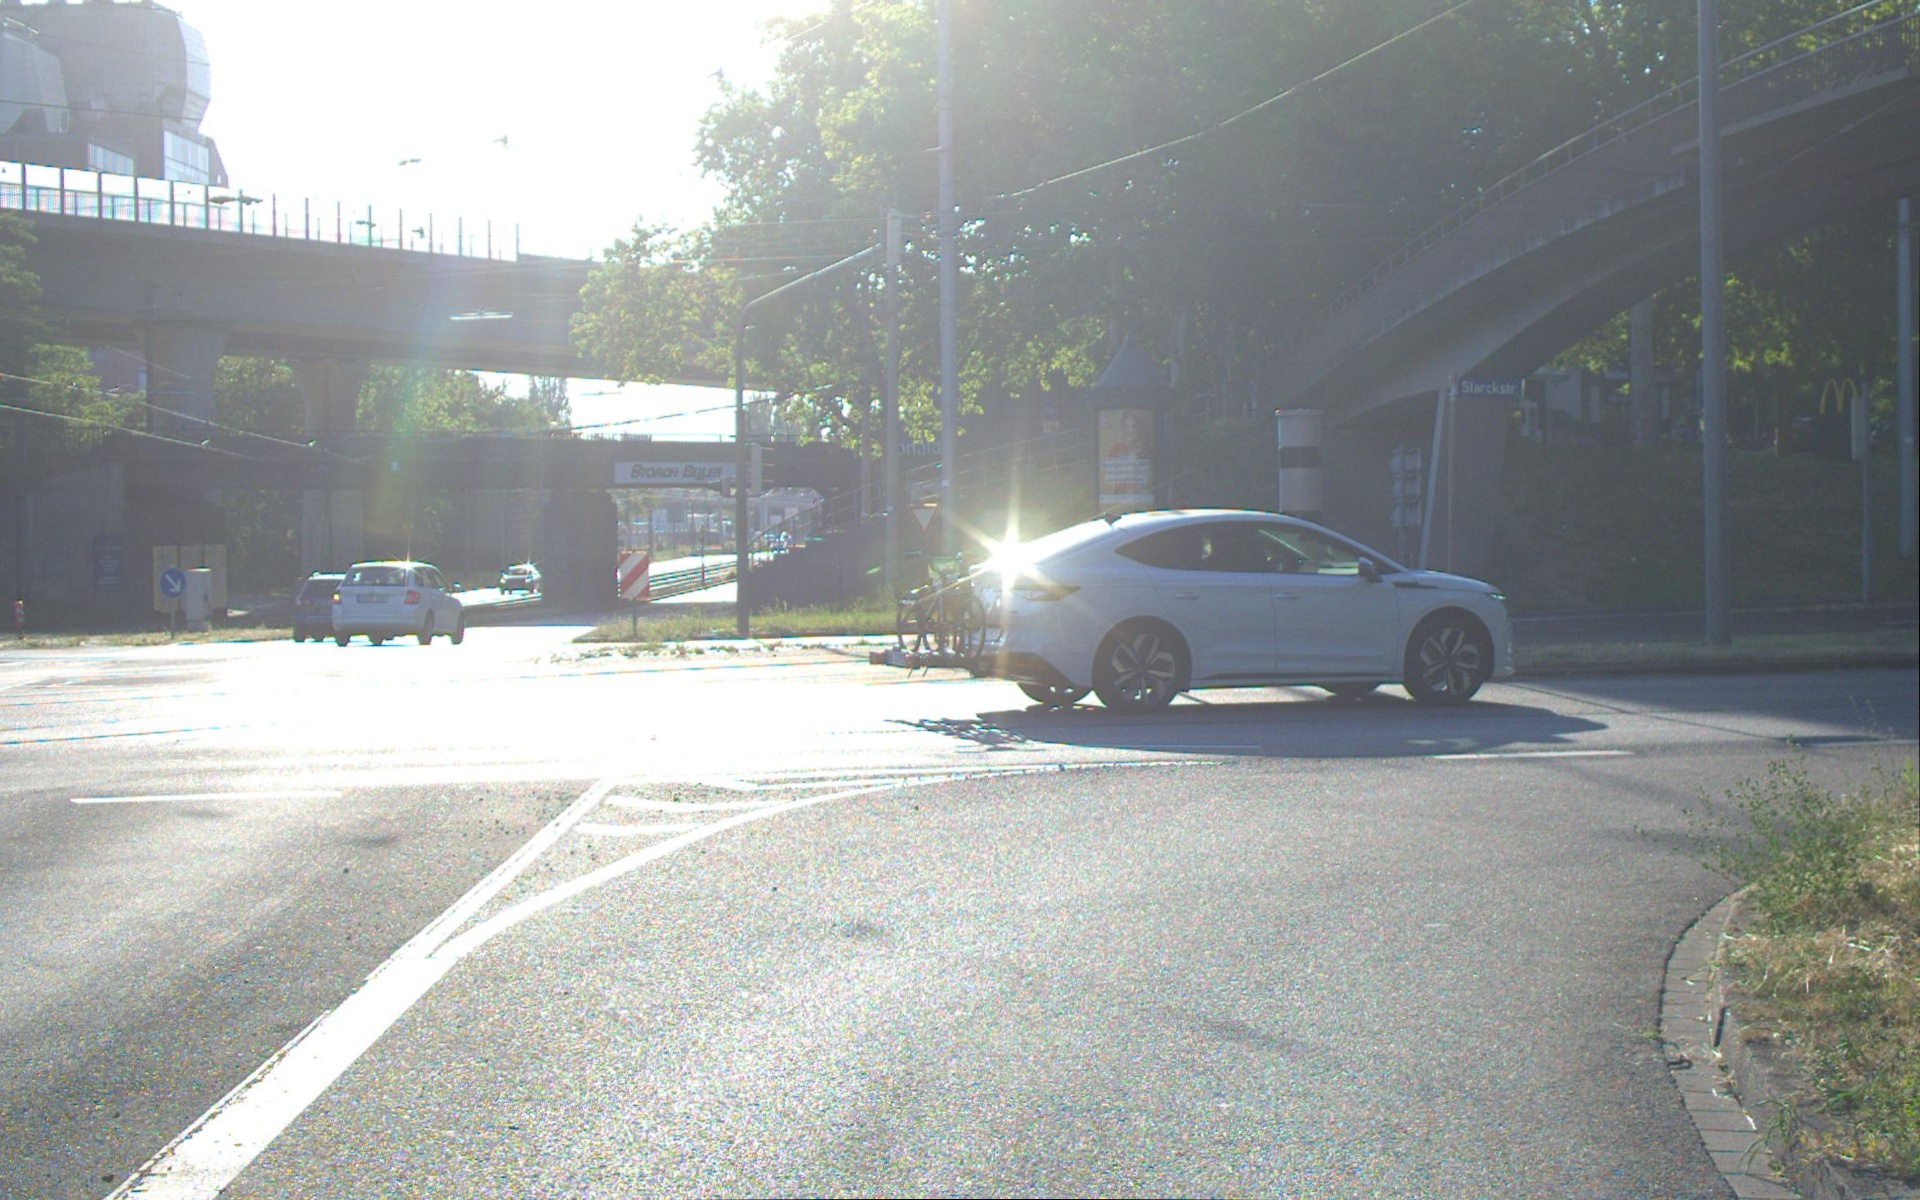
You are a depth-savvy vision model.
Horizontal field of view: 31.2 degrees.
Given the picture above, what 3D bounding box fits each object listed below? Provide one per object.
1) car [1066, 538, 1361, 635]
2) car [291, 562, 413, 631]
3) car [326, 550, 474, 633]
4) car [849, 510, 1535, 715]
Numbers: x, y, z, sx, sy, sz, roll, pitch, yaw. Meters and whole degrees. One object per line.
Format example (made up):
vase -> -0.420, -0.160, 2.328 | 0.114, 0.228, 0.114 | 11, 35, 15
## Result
car -> 4.213, -0.222, 57.170 | 4.574, 1.569, 1.694 | 0, 1, -17
car -> -13.087, -0.099, 74.183 | 1.665, 1.400, 4.445 | 0, 1, 2
car -> -9.896, -0.177, 61.026 | 1.665, 1.400, 4.196 | 0, 1, 4
car -> 1.904, 0.071, 28.056 | 5.348, 1.569, 1.741 | 0, 1, -21
